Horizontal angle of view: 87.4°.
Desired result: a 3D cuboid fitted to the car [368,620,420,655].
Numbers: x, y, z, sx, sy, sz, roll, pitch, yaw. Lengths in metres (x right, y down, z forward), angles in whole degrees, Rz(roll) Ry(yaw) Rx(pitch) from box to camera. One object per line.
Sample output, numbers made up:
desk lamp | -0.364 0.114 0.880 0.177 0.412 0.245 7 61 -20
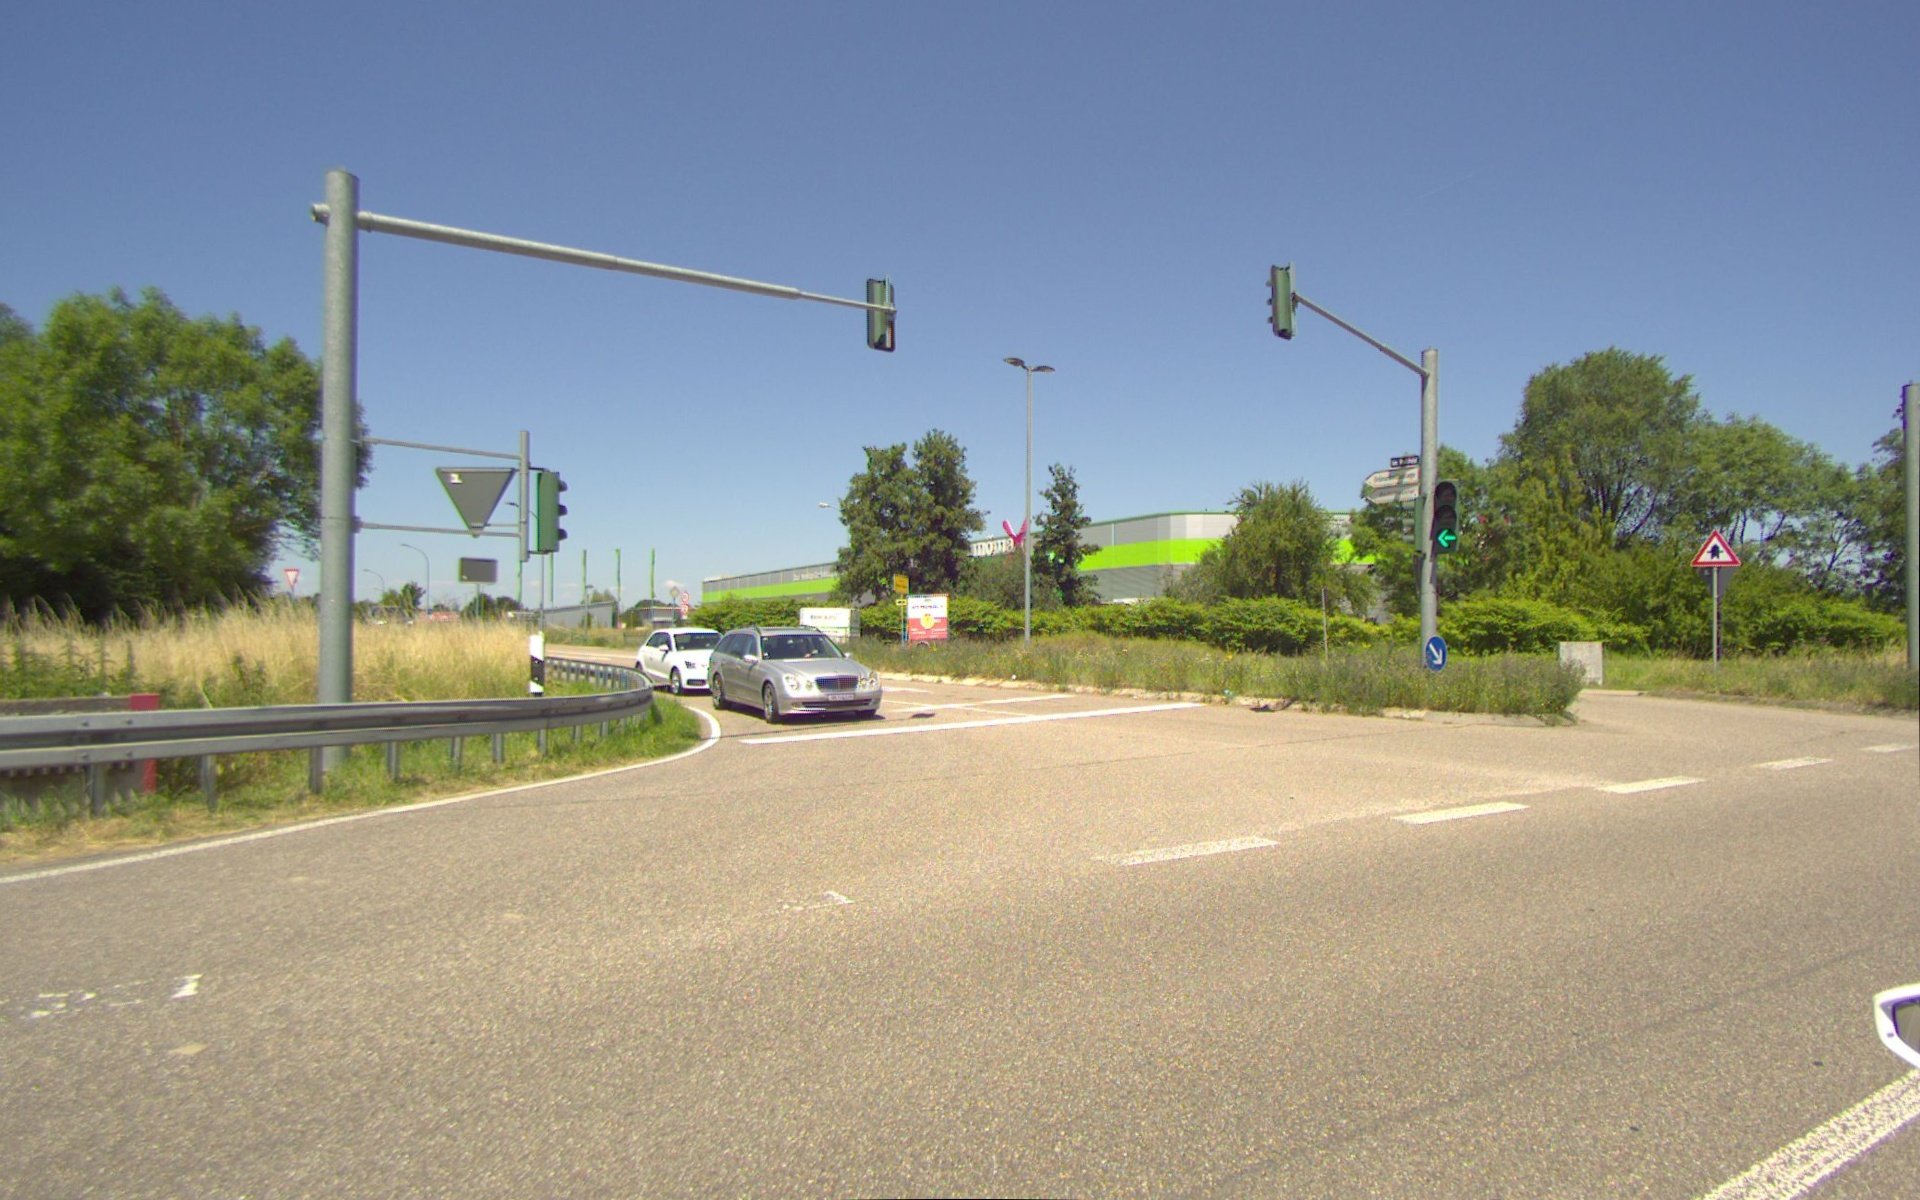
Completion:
car | -29.129 1.889 51.603 1.755 1.646 4.189 1 -1 -38

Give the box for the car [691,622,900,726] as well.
car | -2.998 1.150 17.274 1.856 1.476 4.928 2 -1 -31

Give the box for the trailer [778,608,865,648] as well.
trailer | -6.631 1.317 48.059 3.682 1.815 1.828 1 -1 15

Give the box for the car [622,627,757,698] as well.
car | -6.295 1.374 23.140 1.754 1.417 3.924 1 -1 -36

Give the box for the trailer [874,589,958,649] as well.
trailer | -2.102 0.898 48.473 3.682 2.801 1.828 1 -1 14
